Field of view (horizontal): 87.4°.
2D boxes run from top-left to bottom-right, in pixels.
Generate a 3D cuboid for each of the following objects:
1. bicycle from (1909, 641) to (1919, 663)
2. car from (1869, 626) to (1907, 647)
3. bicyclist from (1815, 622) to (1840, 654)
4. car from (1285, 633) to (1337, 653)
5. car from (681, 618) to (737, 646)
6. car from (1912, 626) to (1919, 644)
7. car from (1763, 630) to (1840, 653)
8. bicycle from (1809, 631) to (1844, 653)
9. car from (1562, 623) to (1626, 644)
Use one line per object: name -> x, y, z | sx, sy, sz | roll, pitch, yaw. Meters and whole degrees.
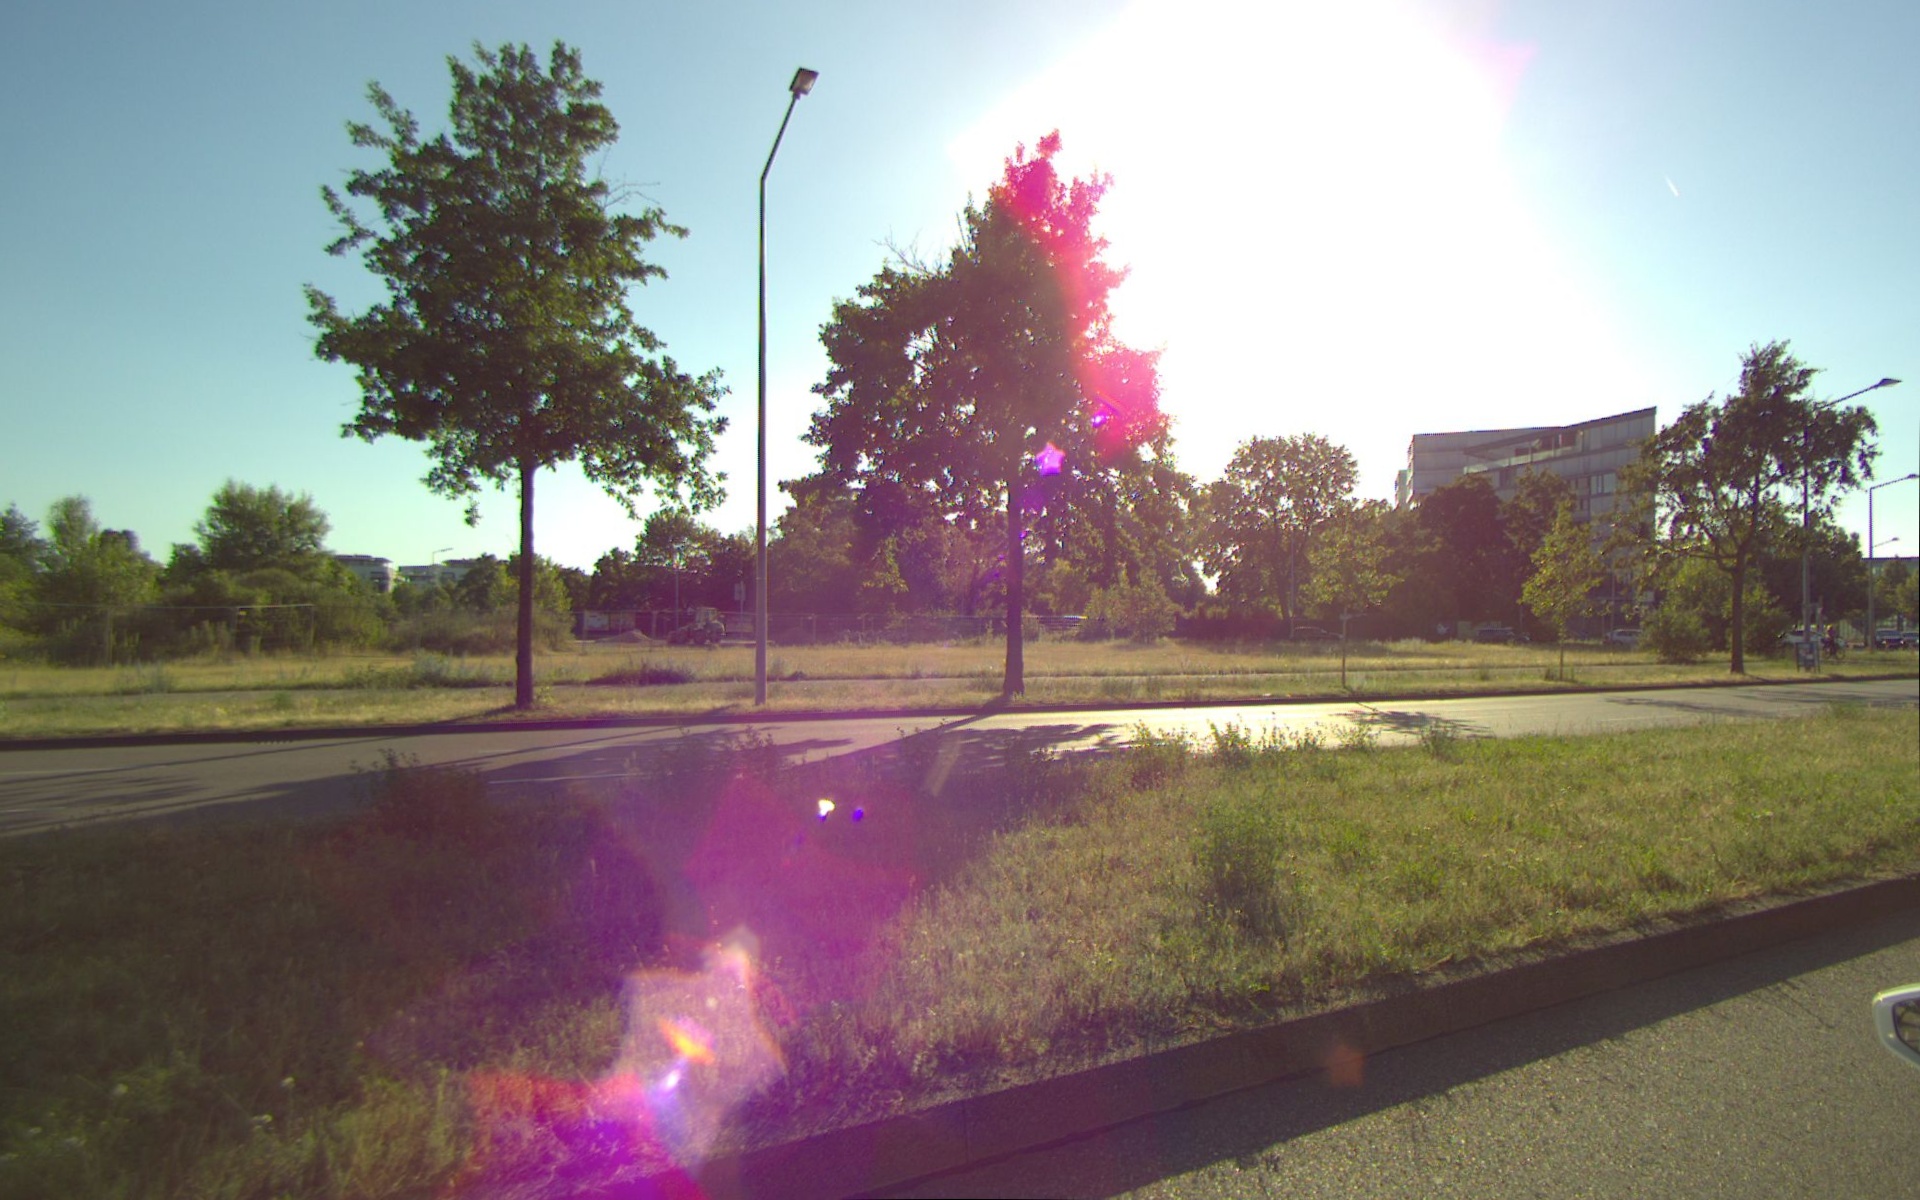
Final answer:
bicycle -> 46.813, 2.528, 48.188 | 0.495, 1.033, 1.910 | 1, 0, -12
car -> 66.126, 2.583, 71.565 | 3.588, 1.460, 1.653 | 1, -3, -42
bicyclist -> 45.587, 1.987, 52.800 | 0.696, 1.688, 0.831 | 0, -1, 16
car -> 28.335, 3.468, 81.086 | 3.915, 1.528, 1.875 | 0, -1, 20
car -> -18.468, 2.331, 73.862 | 3.816, 2.040, 1.994 | -1, -2, 34
car -> 73.053, 2.604, 74.487 | 1.639, 1.394, 4.152 | -1, -2, 13
car -> 57.670, 2.829, 68.930 | 3.911, 1.528, 1.842 | -1, -1, 35
bicycle -> 45.617, 2.215, 52.908 | 0.711, 1.133, 1.824 | 0, -1, 17
car -> 46.901, 2.466, 74.384 | 3.636, 1.528, 1.875 | 0, -1, 20
